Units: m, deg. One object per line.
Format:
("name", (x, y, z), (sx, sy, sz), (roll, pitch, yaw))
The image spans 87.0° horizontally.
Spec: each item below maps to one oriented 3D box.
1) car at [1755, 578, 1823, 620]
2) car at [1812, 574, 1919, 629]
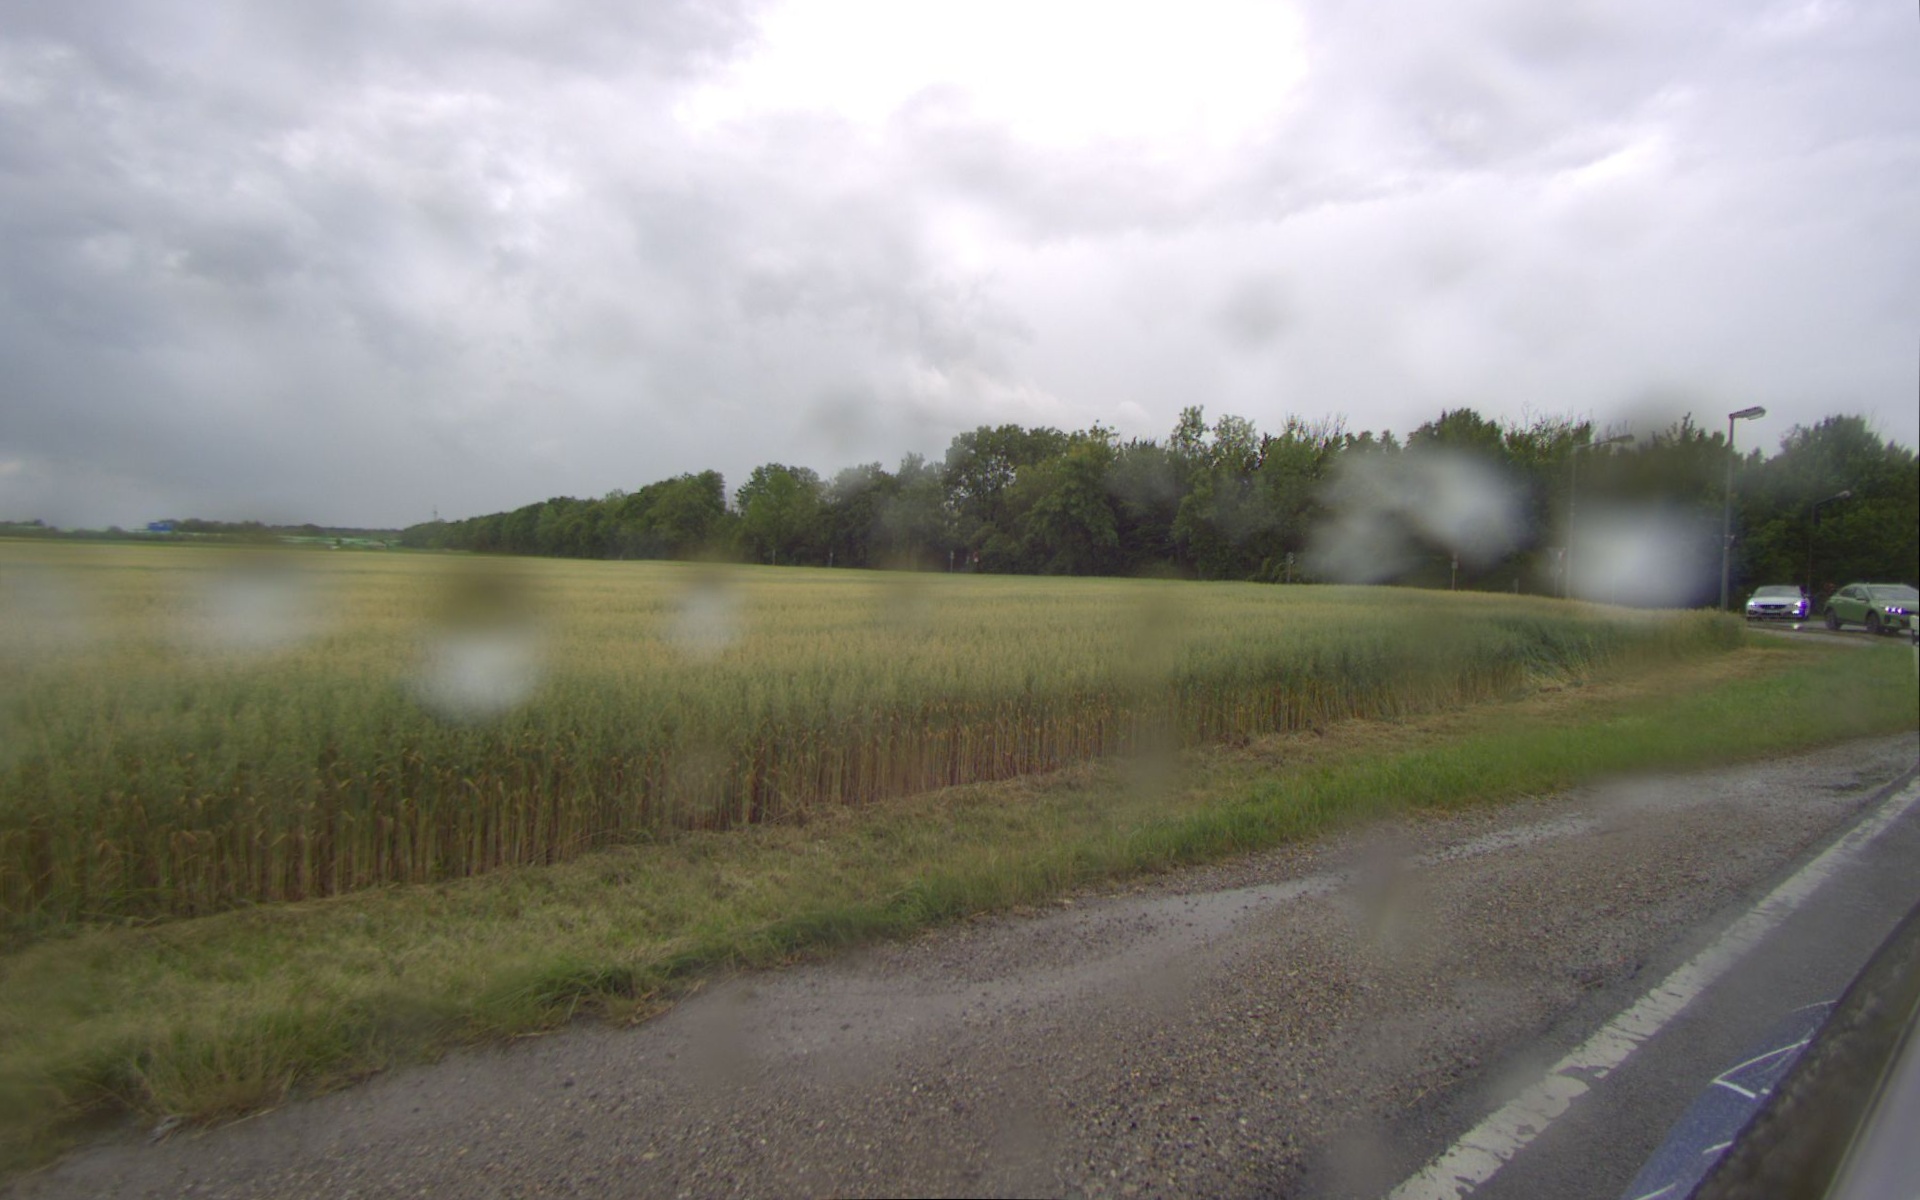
("car", (32.971, -0.067, 40.202), (1.886, 1.550, 4.433), (1, 1, 42))
("car", (28.657, 0.018, 31.173), (1.869, 1.550, 5.223), (1, 1, 19))
